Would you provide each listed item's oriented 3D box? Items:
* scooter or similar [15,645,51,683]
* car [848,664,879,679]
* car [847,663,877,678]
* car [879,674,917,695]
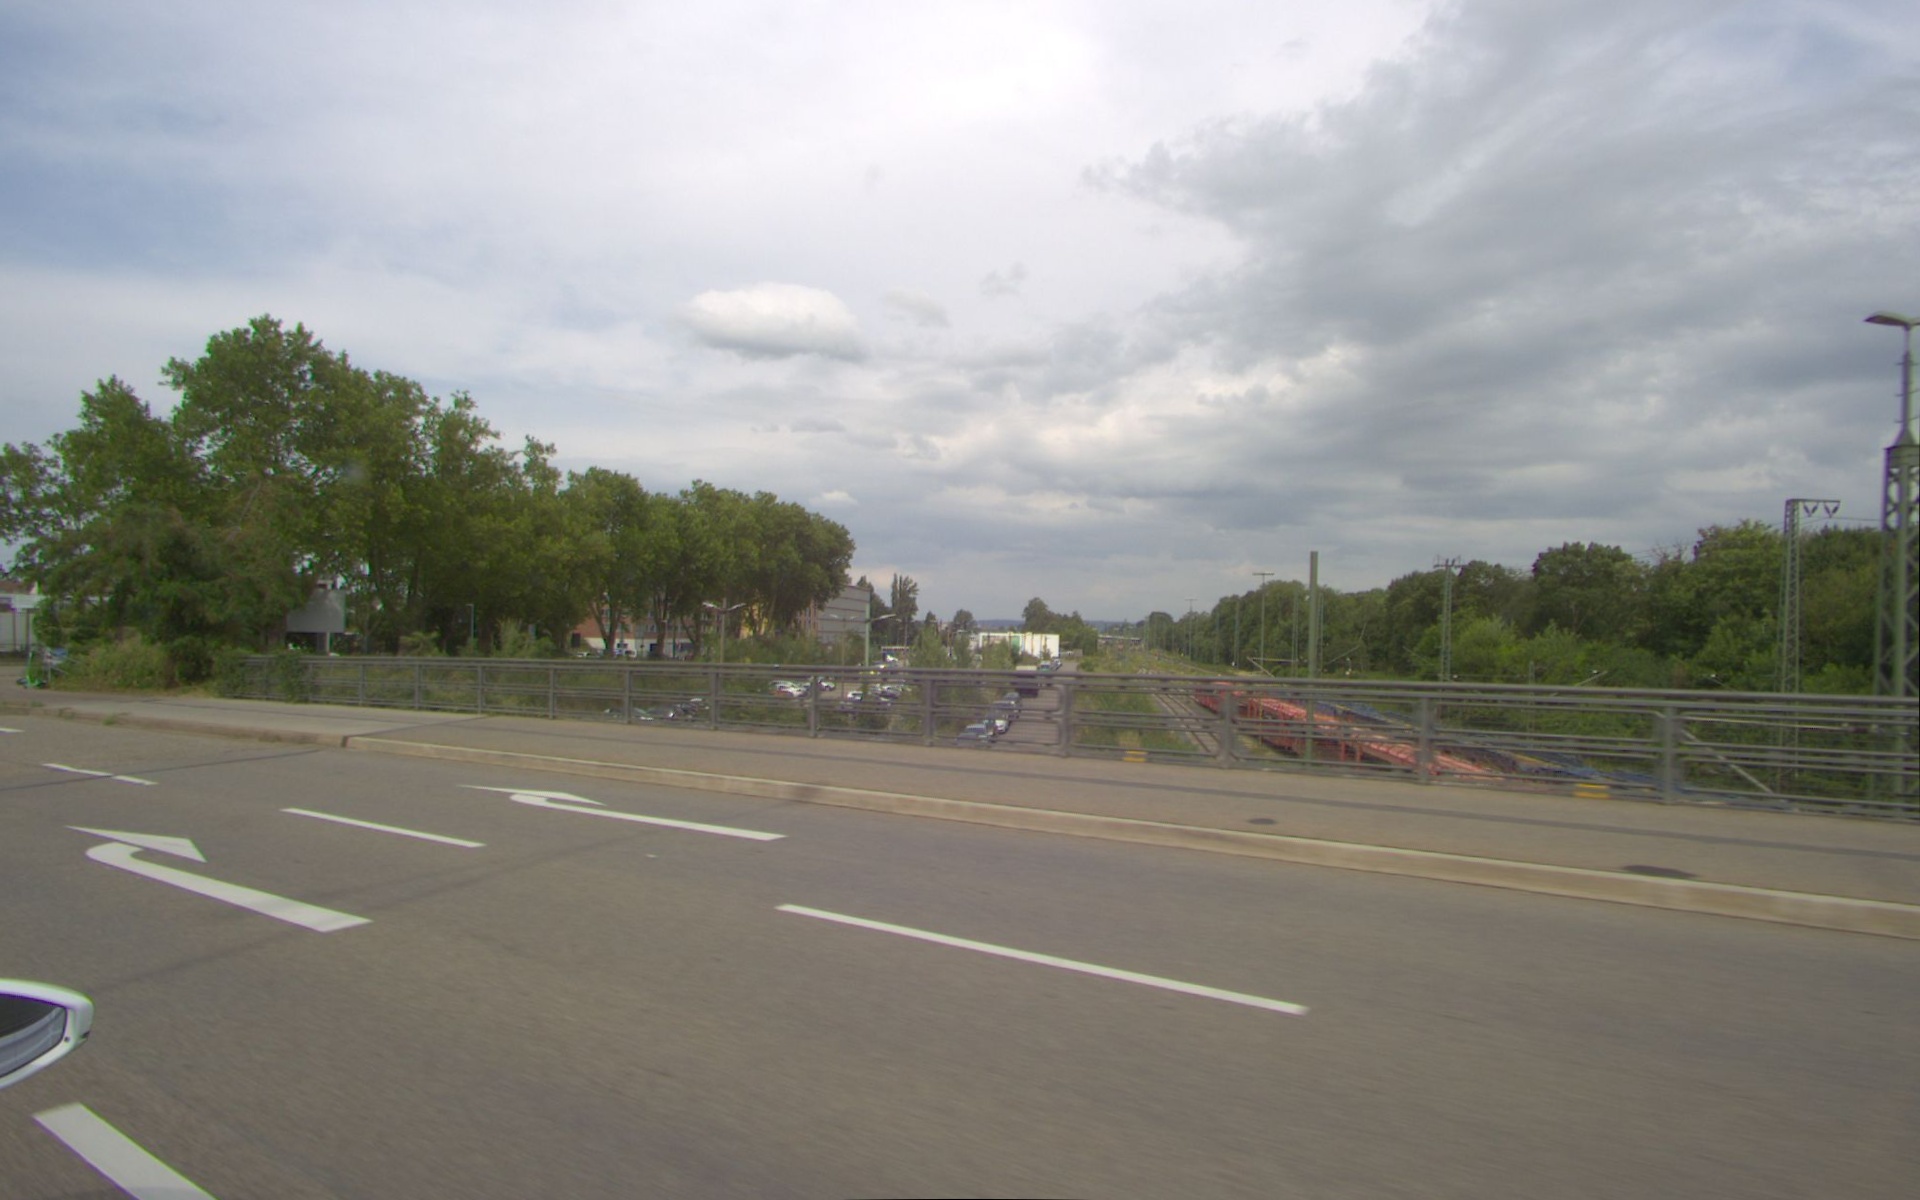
[{"bbox_3d":[-29.527,2.038,31.881,1.260,1.198,0.396,-1,-2,26],"label":"scooter or similar"},{"bbox_3d":[-13.747,10.205,142.751,3.923,2.039,1.763,1,-1,9],"label":"car"},{"bbox_3d":[-14.204,10.293,145.615,3.923,2.039,1.763,1,-1,9],"label":"car"},{"bbox_3d":[-6.715,9.212,109.082,3.922,2.039,1.763,1,-1,3],"label":"car"}]
